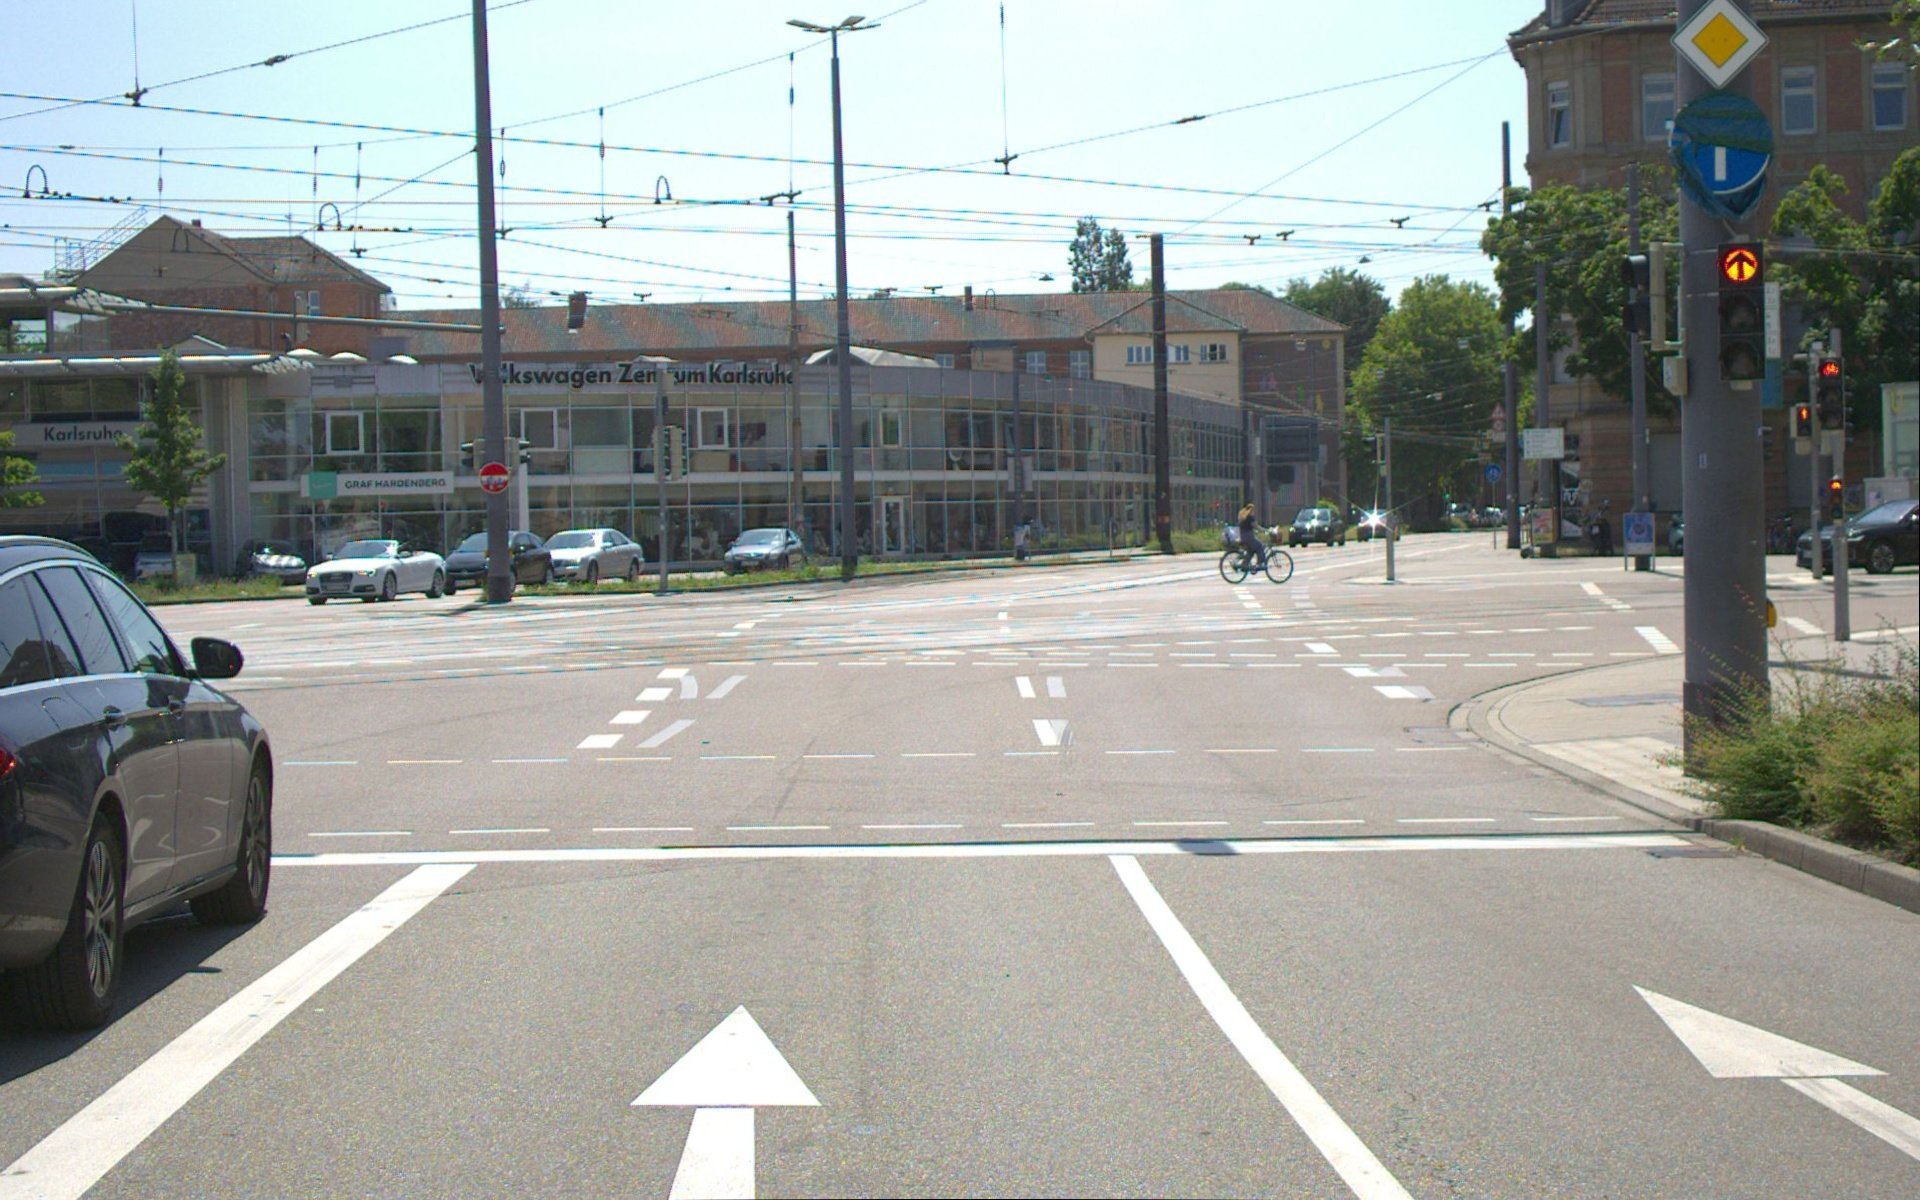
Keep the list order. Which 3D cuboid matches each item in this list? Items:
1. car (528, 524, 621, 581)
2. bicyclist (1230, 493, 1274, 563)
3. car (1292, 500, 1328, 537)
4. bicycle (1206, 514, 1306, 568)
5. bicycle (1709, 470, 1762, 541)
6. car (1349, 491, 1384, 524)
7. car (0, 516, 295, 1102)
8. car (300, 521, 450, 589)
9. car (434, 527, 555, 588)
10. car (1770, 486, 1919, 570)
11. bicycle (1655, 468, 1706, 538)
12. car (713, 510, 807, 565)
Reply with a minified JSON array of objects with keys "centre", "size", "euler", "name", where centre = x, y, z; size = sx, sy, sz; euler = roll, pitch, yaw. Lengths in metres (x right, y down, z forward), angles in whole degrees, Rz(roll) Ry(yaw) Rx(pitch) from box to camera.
[{"centre":[-9.739,-1.218,87.135],"size":[1.432,1.281,3.260],"euler":[0,3,11],"name":"car"},{"centre":[6.322,-1.561,74.479],"size":[0.731,1.474,0.656],"euler":[-2,3,-20],"name":"bicyclist"},{"centre":[14.919,-3.474,146.476],"size":[1.531,1.454,3.552],"euler":[0,3,6],"name":"car"},{"centre":[6.413,-1.277,74.518],"size":[2.160,1.103,0.457],"euler":[-2,3,-19],"name":"bicycle"},{"centre":[20.576,-2.526,91.293],"size":[0.612,1.782,3.182],"euler":[0,3,-1],"name":"bicycle"},{"centre":[20.100,-4.571,170.015],"size":[1.586,1.523,3.715],"euler":[0,3,5],"name":"car"},{"centre":[-3.439,0.524,11.354],"size":[1.716,1.551,4.587],"euler":[-1,1,-2],"name":"car"},{"centre":[-12.749,-0.996,75.139],"size":[1.620,1.385,4.122],"euler":[-1,1,15],"name":"car"},{"centre":[-10.980,-1.030,81.289],"size":[1.539,1.273,3.537],"euler":[0,3,15],"name":"car"},{"centre":[17.407,-1.378,64.409],"size":[4.100,1.446,1.698],"euler":[-2,3,-20],"name":"car"},{"centre":[19.140,-2.594,91.344],"size":[0.612,1.782,3.182],"euler":[0,3,-1],"name":"bicycle"},{"centre":[-5.718,-1.812,98.559],"size":[1.572,1.422,3.611],"euler":[0,3,16],"name":"car"}]
